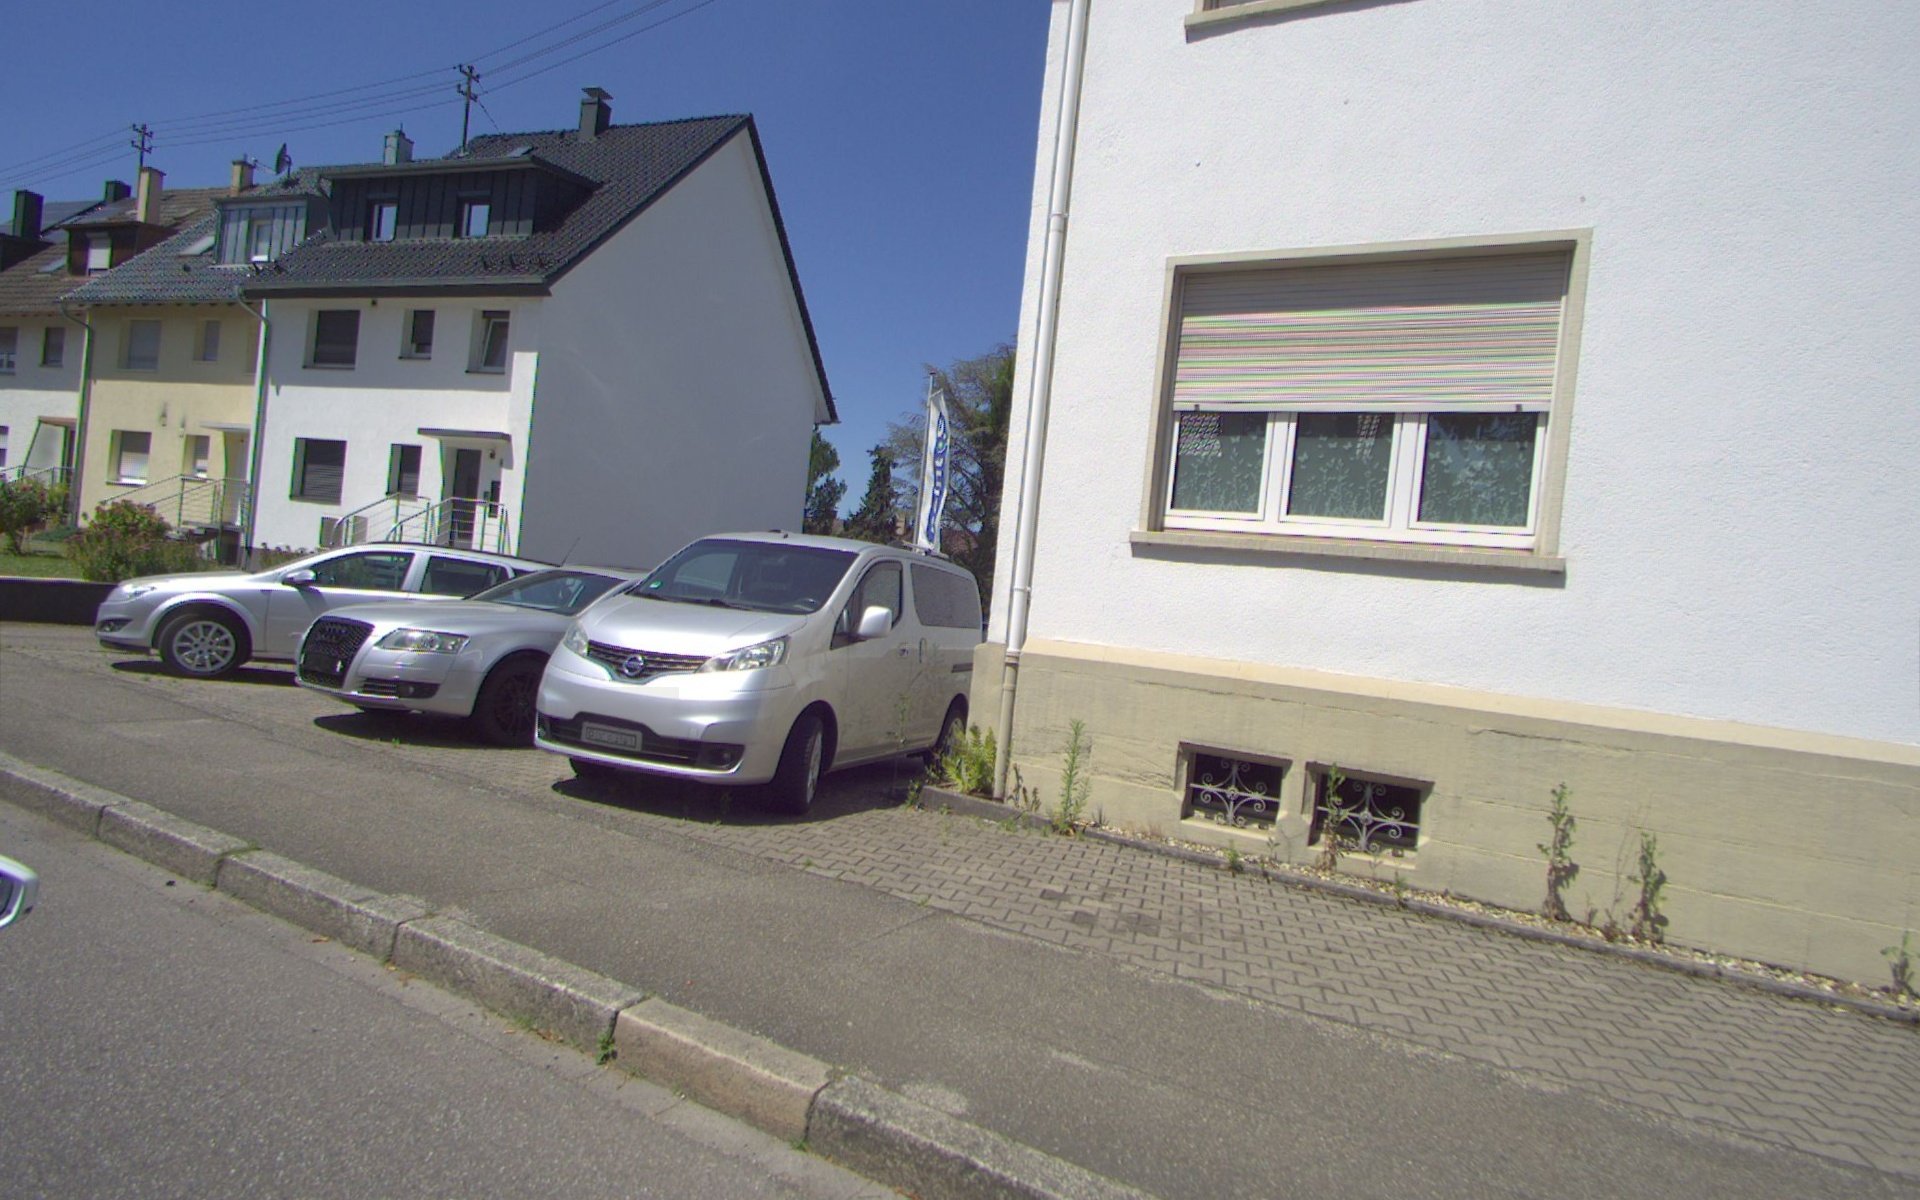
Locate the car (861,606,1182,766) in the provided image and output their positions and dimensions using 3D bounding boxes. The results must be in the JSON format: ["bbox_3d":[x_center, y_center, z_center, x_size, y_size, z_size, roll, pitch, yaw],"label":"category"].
[{"bbox_3d":[0.916,1.087,12.367,1.970,1.503,3.989,5,-3,37],"label":"car"}]

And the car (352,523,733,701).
[{"bbox_3d":[-5.286,0.221,13.276,4.239,1.660,1.635,8,-3,-16],"label":"car"}]

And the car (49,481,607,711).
[{"bbox_3d":[-6.001,0.083,10.111,4.261,1.564,1.744,9,-4,-31],"label":"car"}]

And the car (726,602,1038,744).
[{"bbox_3d":[-0.907,1.048,13.644,1.970,1.503,3.989,5,-3,37],"label":"car"}]

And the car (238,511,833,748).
[{"bbox_3d":[-3.251,0.426,8.863,1.738,1.424,4.655,6,-4,28],"label":"car"}]

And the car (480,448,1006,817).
[{"bbox_3d":[-1.182,0.345,7.620,1.707,1.850,4.311,7,-3,19],"label":"car"}]
